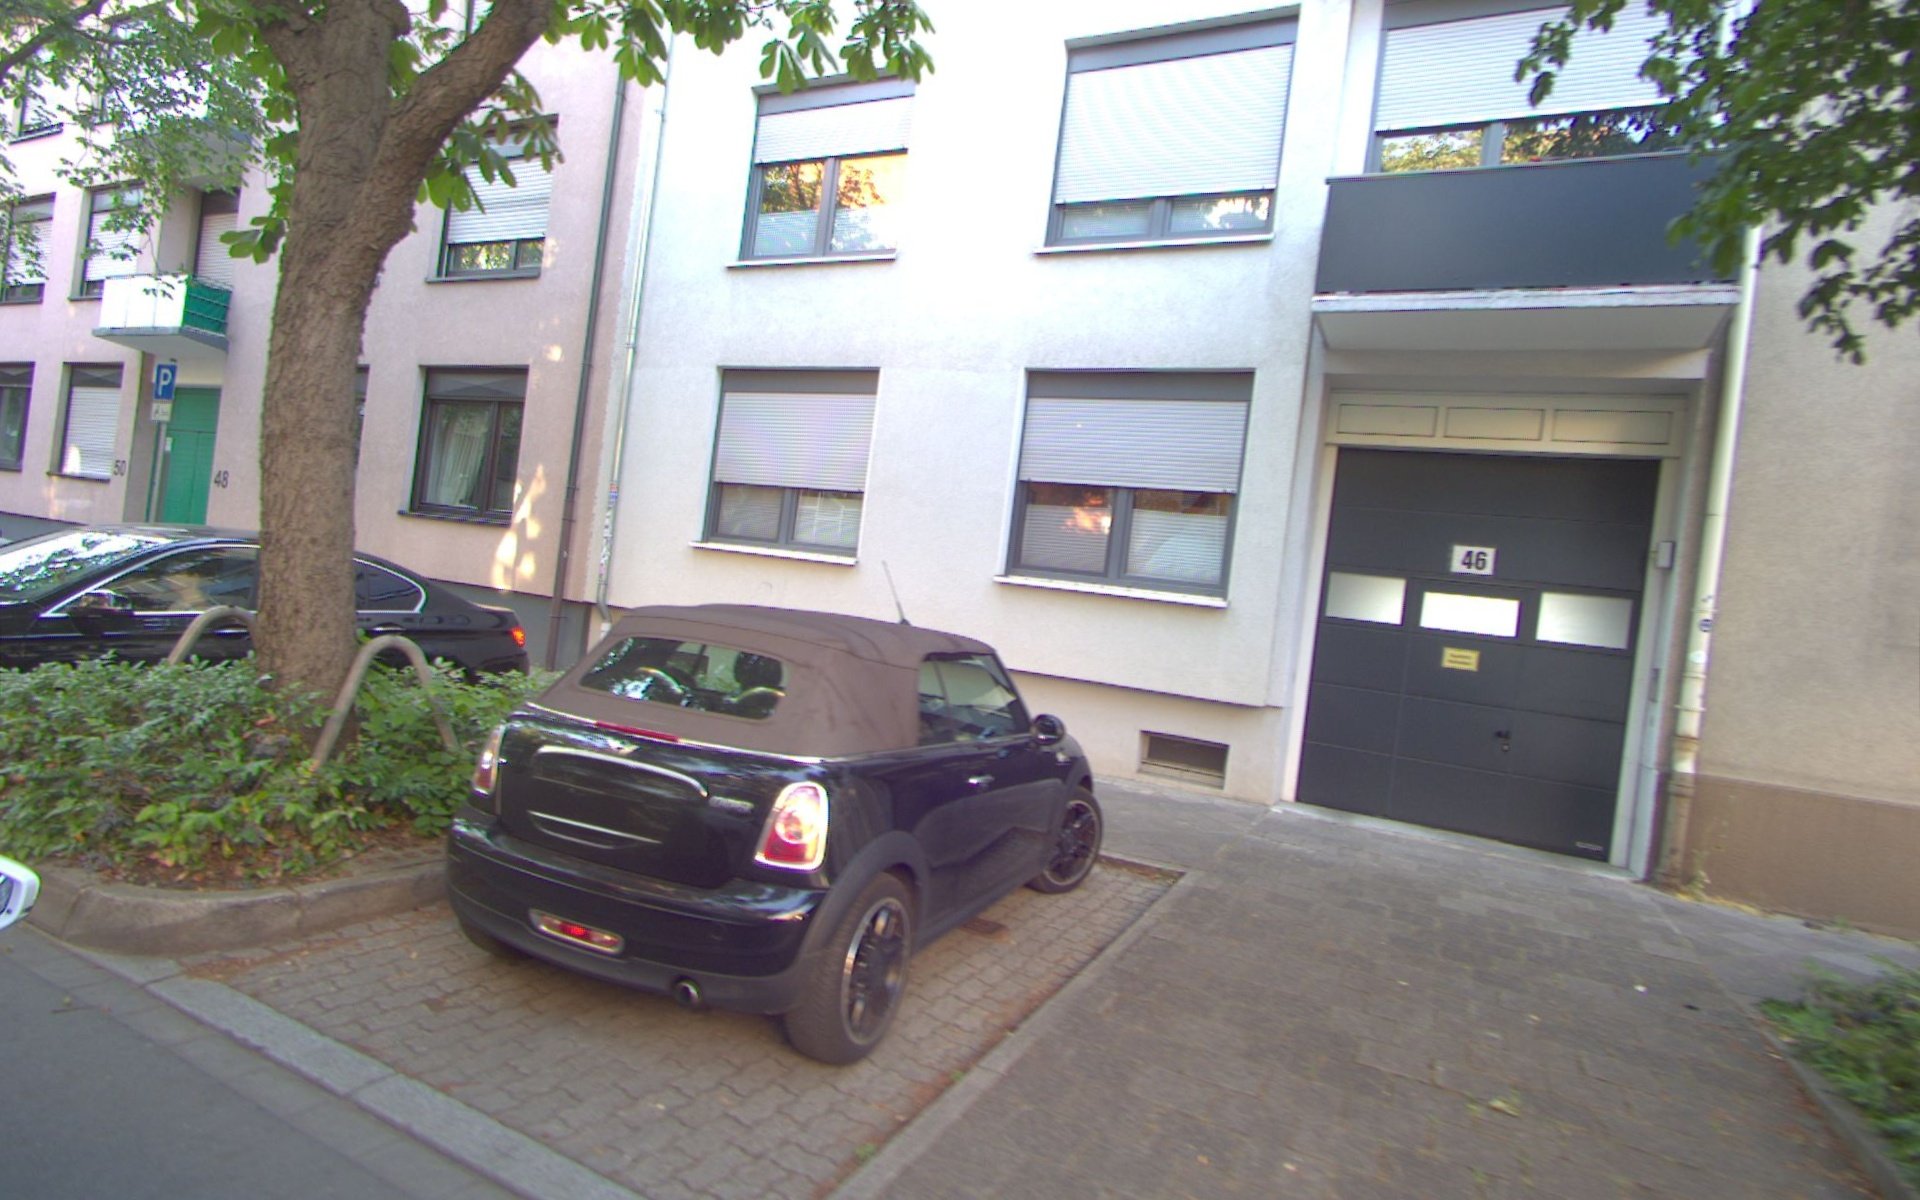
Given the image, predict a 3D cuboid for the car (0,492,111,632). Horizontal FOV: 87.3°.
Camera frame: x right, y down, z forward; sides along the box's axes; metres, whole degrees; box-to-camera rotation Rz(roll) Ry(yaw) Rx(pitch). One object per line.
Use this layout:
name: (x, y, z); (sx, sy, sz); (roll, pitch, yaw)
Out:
car: (-11.664, -0.591, 10.468); (1.635, 1.494, 3.920); (7, -1, 25)

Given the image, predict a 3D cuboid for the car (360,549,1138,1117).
car: (-0.467, 0.725, 4.675); (1.634, 1.380, 3.621); (7, -1, 23)

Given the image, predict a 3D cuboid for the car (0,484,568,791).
car: (-5.001, 0.174, 6.184); (1.768, 1.497, 4.757); (7, -1, 27)
